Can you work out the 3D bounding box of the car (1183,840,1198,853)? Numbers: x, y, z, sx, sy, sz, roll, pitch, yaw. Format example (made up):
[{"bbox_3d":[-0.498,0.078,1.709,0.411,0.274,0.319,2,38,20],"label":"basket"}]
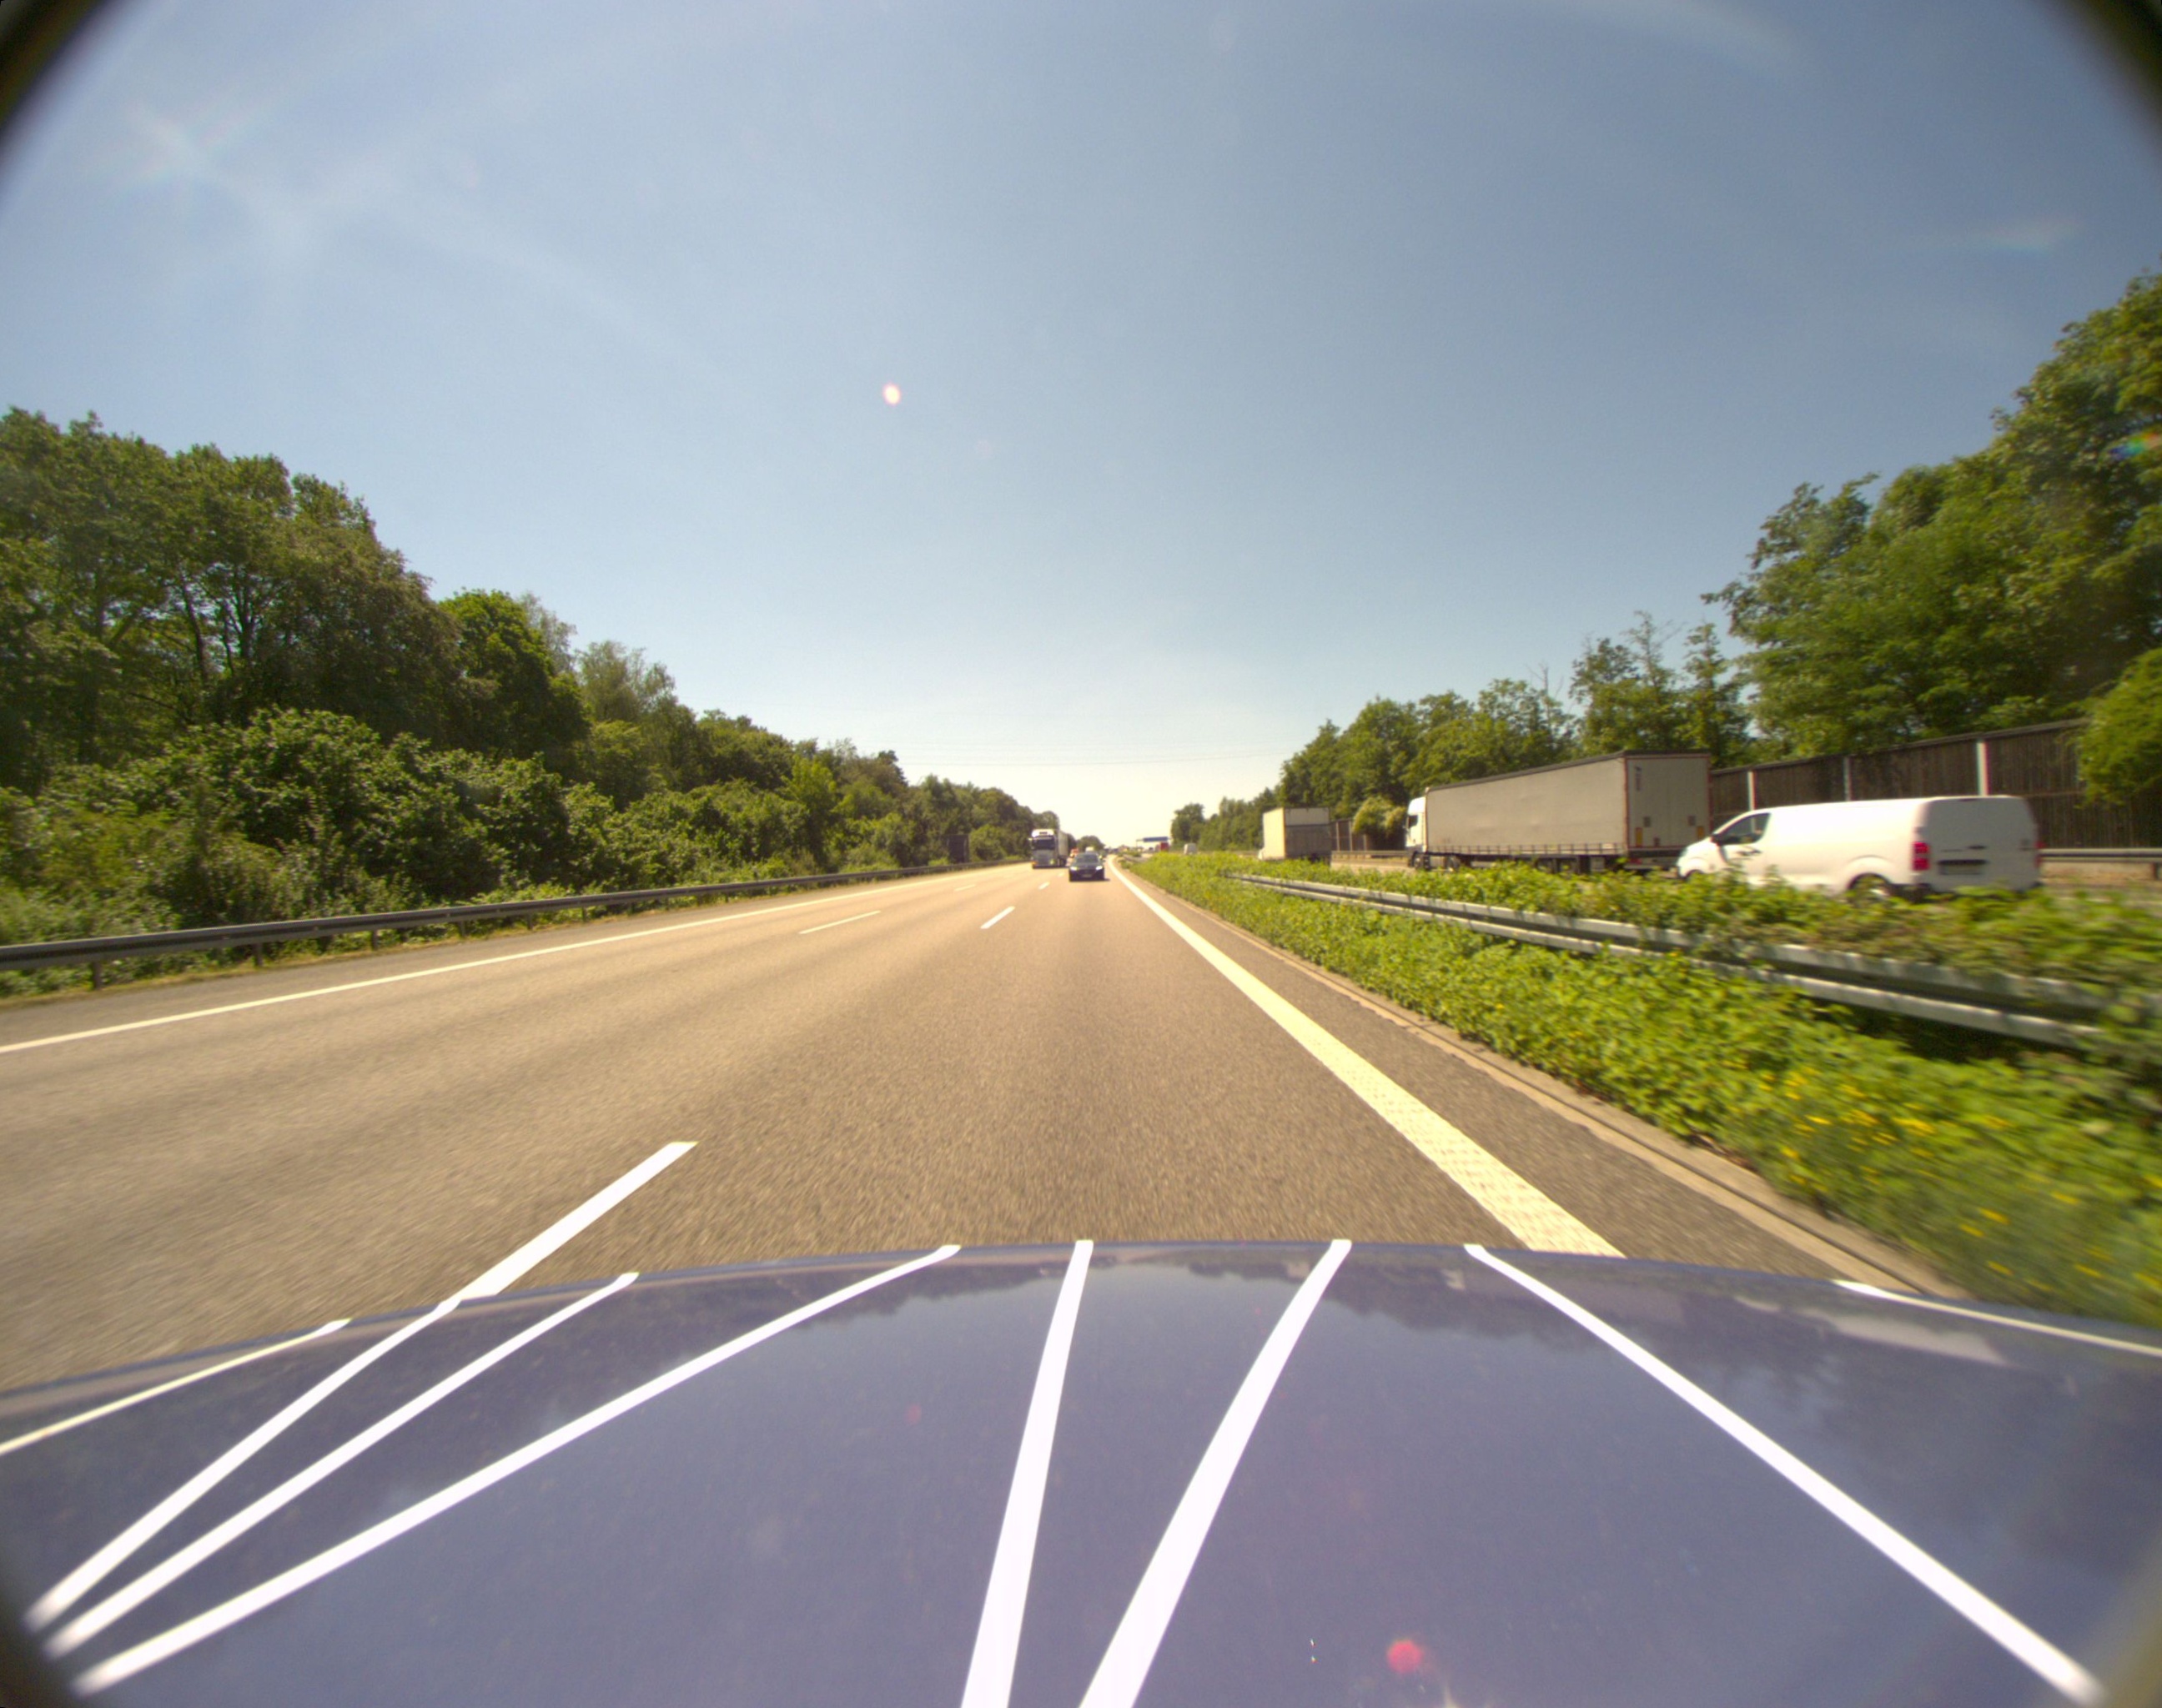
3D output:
[{"bbox_3d":[21.028,-1.354,146.116,2.029,2.417,5.412,-2,0,0],"label":"car"}]

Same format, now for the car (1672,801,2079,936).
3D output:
[{"bbox_3d":[12.843,0.183,12.896,1.872,1.809,4.816,-2,0,0],"label":"car"}]

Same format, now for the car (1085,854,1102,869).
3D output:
[{"bbox_3d":[1.486,0.846,87.023,1.862,1.614,3.737,-2,0,2],"label":"car"}]

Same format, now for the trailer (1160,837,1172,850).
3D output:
[{"bbox_3d":[27.636,-3.322,247.770,2.690,4.044,14.052,-2,0,3],"label":"trailer"}]

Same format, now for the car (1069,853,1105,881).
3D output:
[{"bbox_3d":[0.401,0.674,41.746,1.800,1.390,4.834,-2,0,2],"label":"car"}]

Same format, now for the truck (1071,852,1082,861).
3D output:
[{"bbox_3d":[-1.073,0.636,198.985,2.437,2.426,10.010,-2,0,2],"label":"truck"}]

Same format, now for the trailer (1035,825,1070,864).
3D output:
[{"bbox_3d":[-3.083,-1.024,85.662,2.746,3.952,13.655,-2,0,2],"label":"trailer"}]

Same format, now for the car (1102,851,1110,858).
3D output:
[{"bbox_3d":[5.821,0.157,178.528,1.879,1.630,4.000,-2,0,1],"label":"car"}]

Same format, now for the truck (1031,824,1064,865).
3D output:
[{"bbox_3d":[-3.390,-0.986,78.725,2.729,3.952,6.502,-2,0,3],"label":"truck"}]

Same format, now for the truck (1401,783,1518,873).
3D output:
[{"bbox_3d":[17.702,-1.144,35.971,2.693,3.872,5.573,-2,0,0],"label":"truck"}]

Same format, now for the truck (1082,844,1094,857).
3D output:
[{"bbox_3d":[1.729,-0.955,194.577,2.859,3.163,10.711,-2,0,1],"label":"truck"}]

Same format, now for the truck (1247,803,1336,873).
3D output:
[{"bbox_3d":[10.411,-0.741,38.480,2.199,3.096,8.533,-2,0,1],"label":"truck"}]

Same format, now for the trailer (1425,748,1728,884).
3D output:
[{"bbox_3d":[17.630,-1.137,29.157,2.736,3.887,13.761,-2,0,1],"label":"trailer"}]

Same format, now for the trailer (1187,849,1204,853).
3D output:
[{"bbox_3d":[21.058,-0.557,140.233,2.167,0.802,6.281,-2,0,0],"label":"trailer"}]
